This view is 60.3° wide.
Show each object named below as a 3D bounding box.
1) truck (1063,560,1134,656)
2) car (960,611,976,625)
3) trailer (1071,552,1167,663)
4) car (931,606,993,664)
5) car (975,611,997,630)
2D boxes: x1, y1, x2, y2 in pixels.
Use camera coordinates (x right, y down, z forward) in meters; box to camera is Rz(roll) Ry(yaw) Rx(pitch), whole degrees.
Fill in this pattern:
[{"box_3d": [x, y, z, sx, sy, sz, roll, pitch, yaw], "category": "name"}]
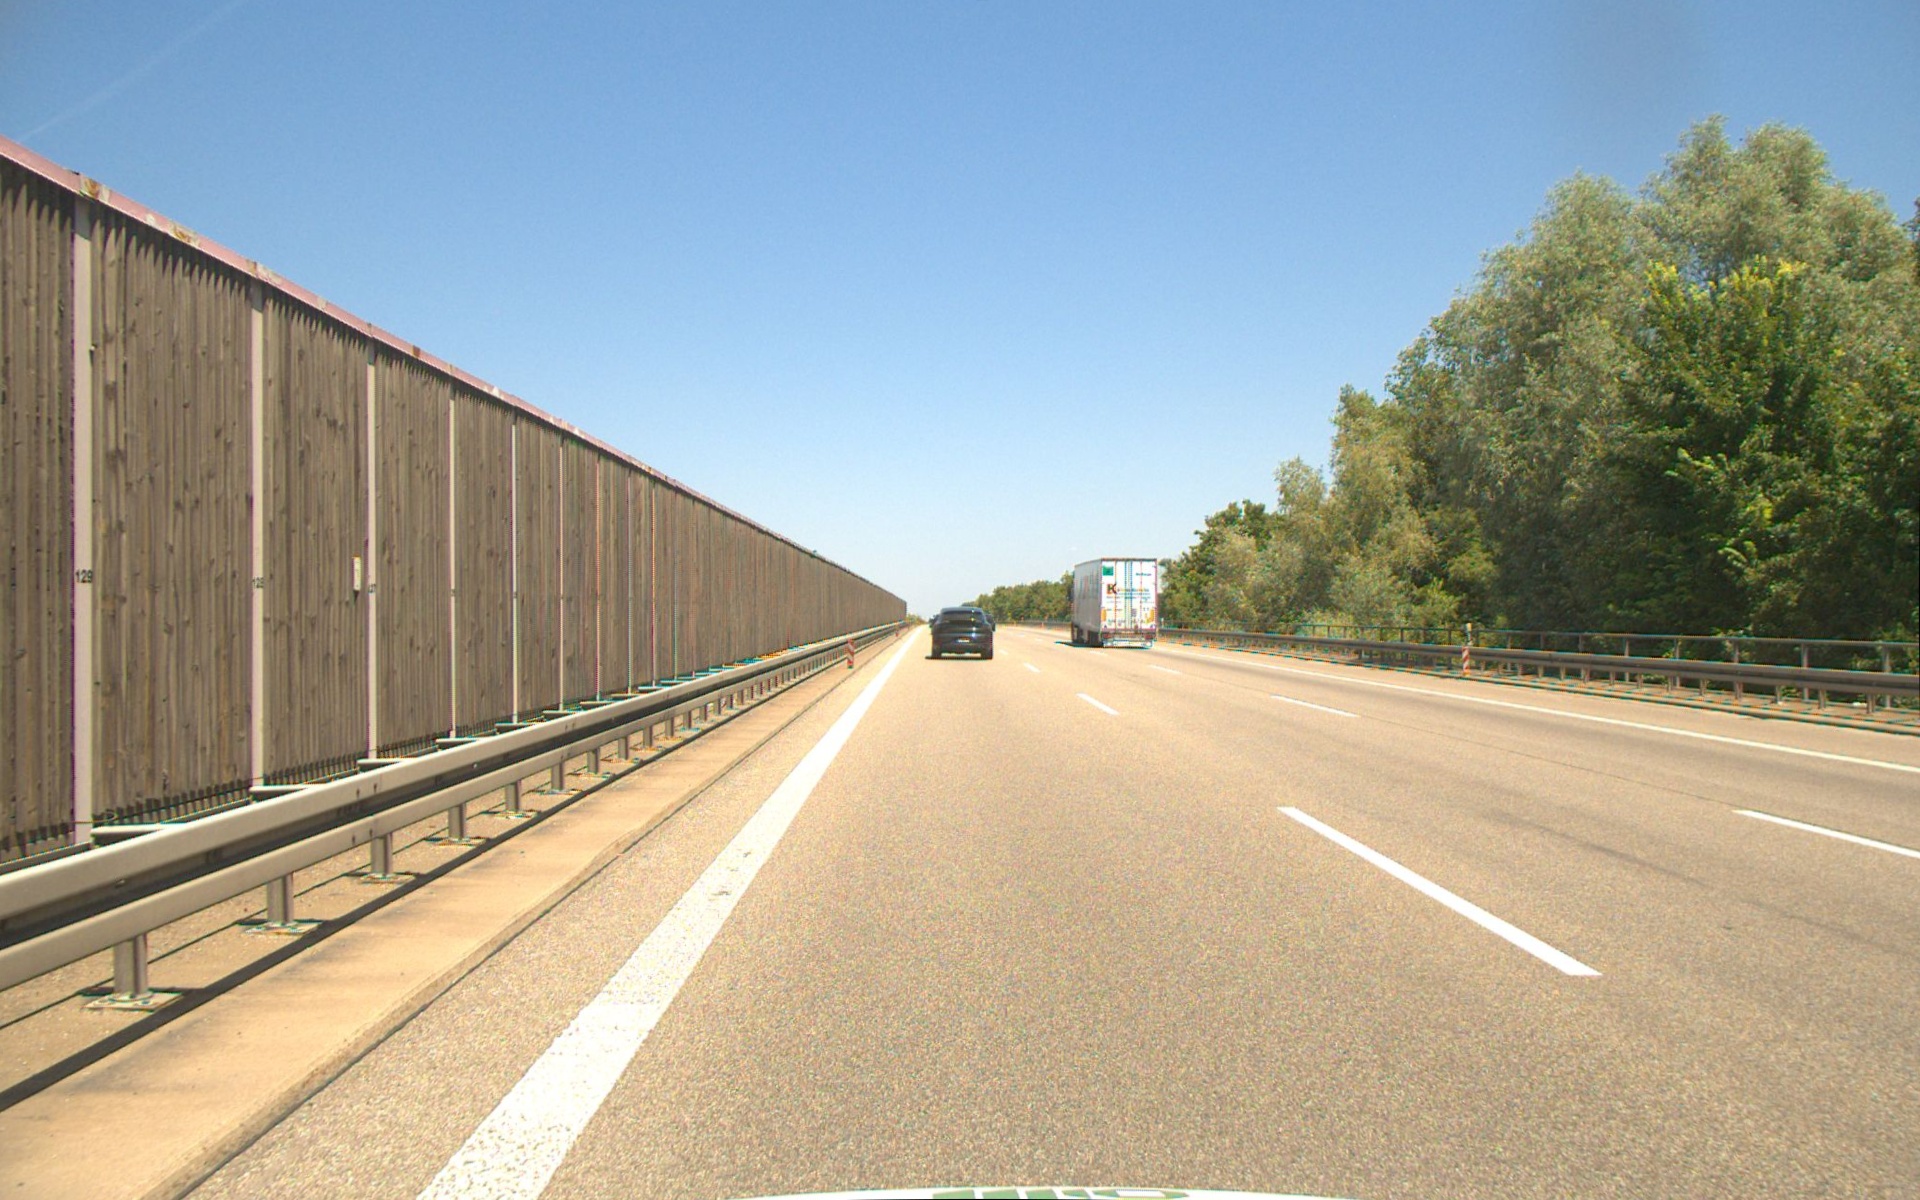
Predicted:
[{"box_3d": [7.462, 0.434, 89.748, 3.168, 4.975, 6.970, 1, -1, -1], "category": "truck"}, {"box_3d": [1.021, 2.246, 201.294, 1.864, 1.612, 4.303, -1, -1, -1], "category": "car"}, {"box_3d": [7.543, 0.387, 80.601, 3.203, 4.922, 14.026, 1, -1, -1], "category": "trailer"}, {"box_3d": [0.022, 1.104, 53.776, 1.842, 1.823, 3.998, 0, 0, -2], "category": "car"}, {"box_3d": [2.315, 1.859, 149.517, 1.864, 1.612, 4.303, -1, -1, -1], "category": "car"}]
